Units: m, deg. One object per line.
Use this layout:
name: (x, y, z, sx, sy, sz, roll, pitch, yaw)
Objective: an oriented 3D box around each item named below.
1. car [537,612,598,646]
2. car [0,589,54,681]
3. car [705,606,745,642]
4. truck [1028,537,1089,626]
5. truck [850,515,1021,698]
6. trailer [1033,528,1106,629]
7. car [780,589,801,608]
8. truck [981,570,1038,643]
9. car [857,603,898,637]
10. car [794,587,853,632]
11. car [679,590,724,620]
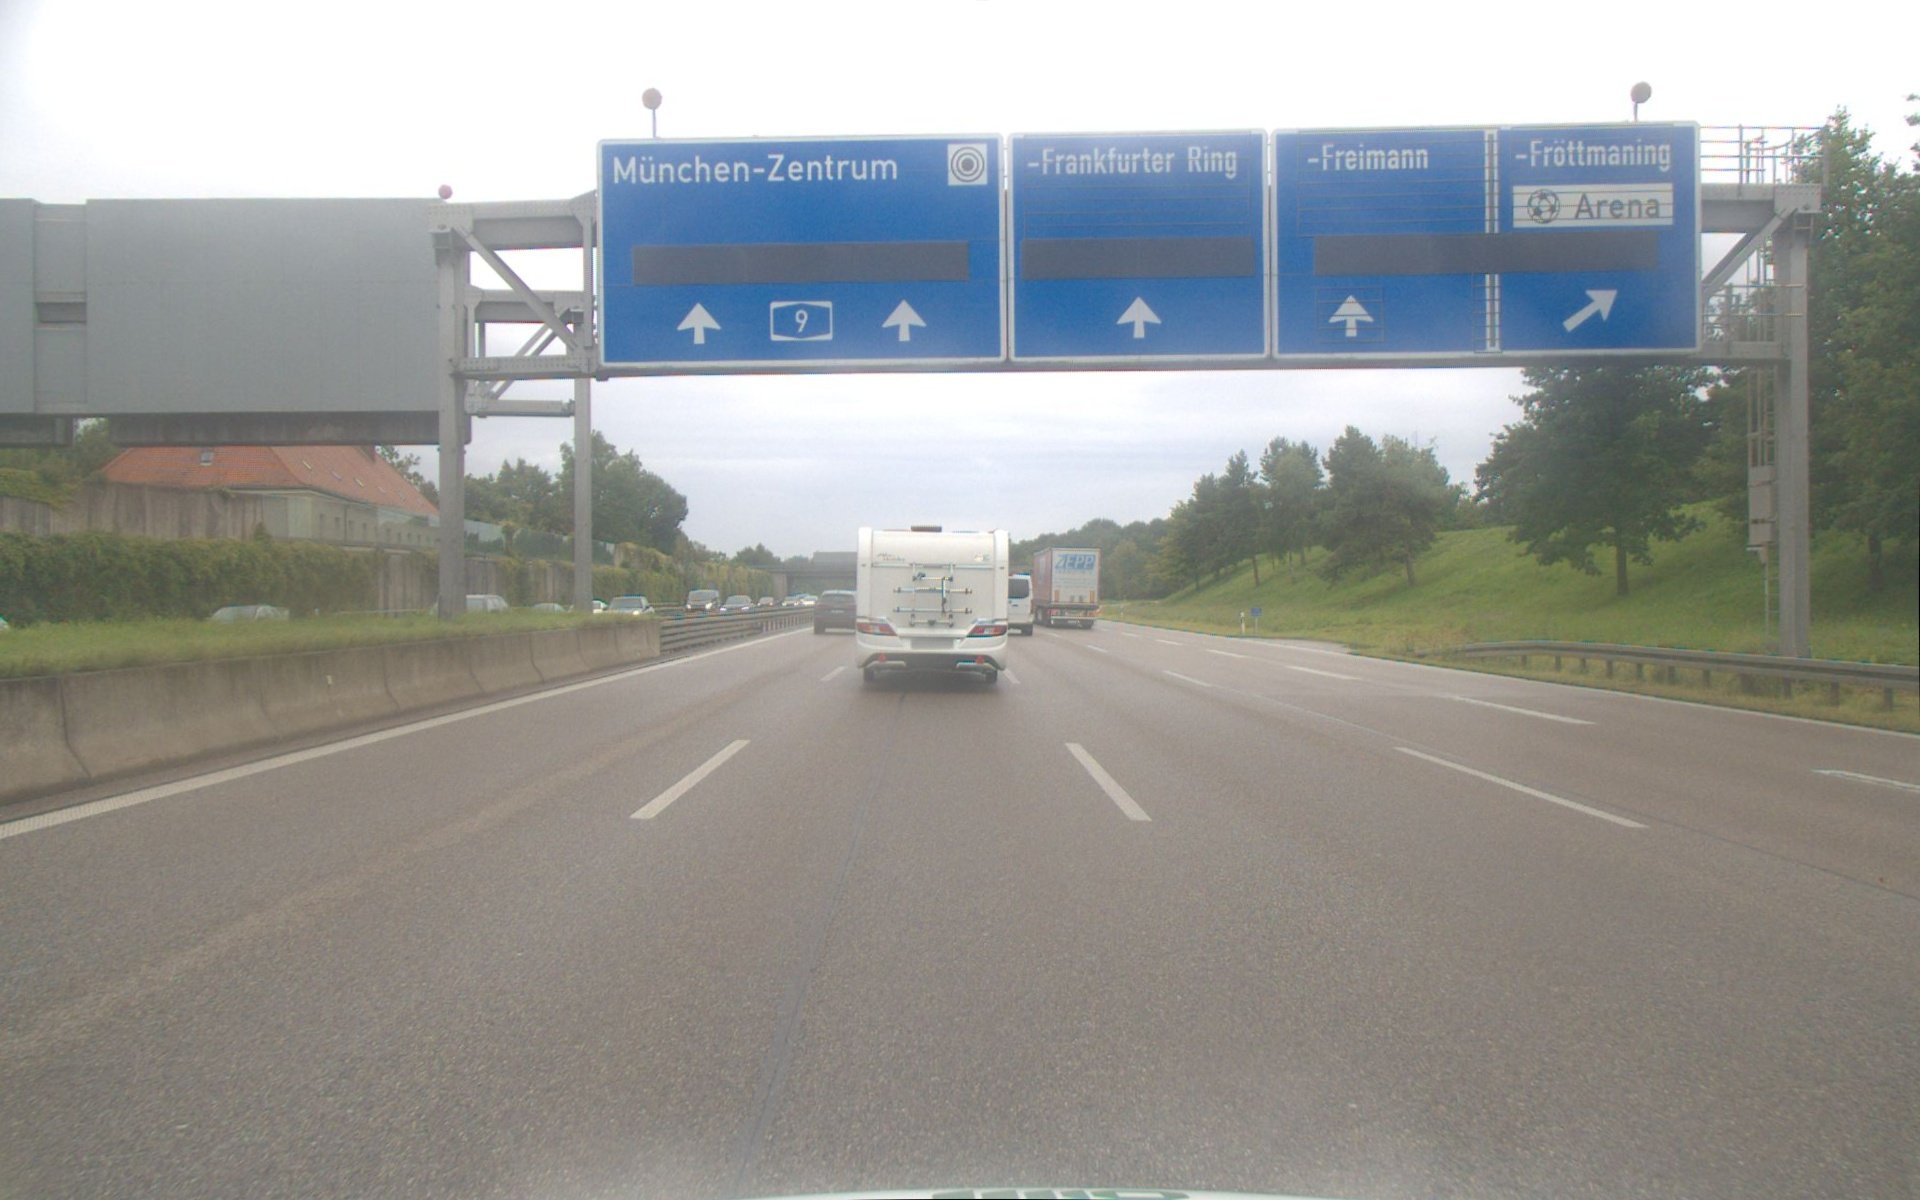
car: (-17.128, 1.250, 72.325, 1.670, 1.389, 4.235, 1, 0, -1)
car: (-16.473, 0.559, 25.844, 1.953, 1.479, 4.933, 0, 0, -1)
car: (-13.832, 1.374, 97.519, 1.816, 2.049, 3.851, 1, 0, -1)
truck: (5.672, -1.041, 96.126, 2.986, 4.924, 5.849, 1, 0, -1)
truck: (-0.440, 0.105, 28.227, 2.607, 2.790, 5.076, 1, 0, -2)
trailer: (5.724, -1.052, 88.290, 3.036, 5.008, 11.789, 1, 0, 0)
car: (-18.349, -0.196, 179.007, 1.894, 2.049, 4.730, 0, 0, -2)
truck: (1.992, 0.260, 68.071, 2.012, 2.818, 5.547, 1, 0, -1)
car: (-4.565, 1.133, 92.148, 2.085, 1.735, 4.111, 3, -1, -2)
car: (-5.311, 0.369, 64.941, 1.953, 1.628, 5.122, 1, 0, -1)
car: (-17.813, 0.339, 114.347, 2.164, 2.006, 6.269, 1, 0, -1)
